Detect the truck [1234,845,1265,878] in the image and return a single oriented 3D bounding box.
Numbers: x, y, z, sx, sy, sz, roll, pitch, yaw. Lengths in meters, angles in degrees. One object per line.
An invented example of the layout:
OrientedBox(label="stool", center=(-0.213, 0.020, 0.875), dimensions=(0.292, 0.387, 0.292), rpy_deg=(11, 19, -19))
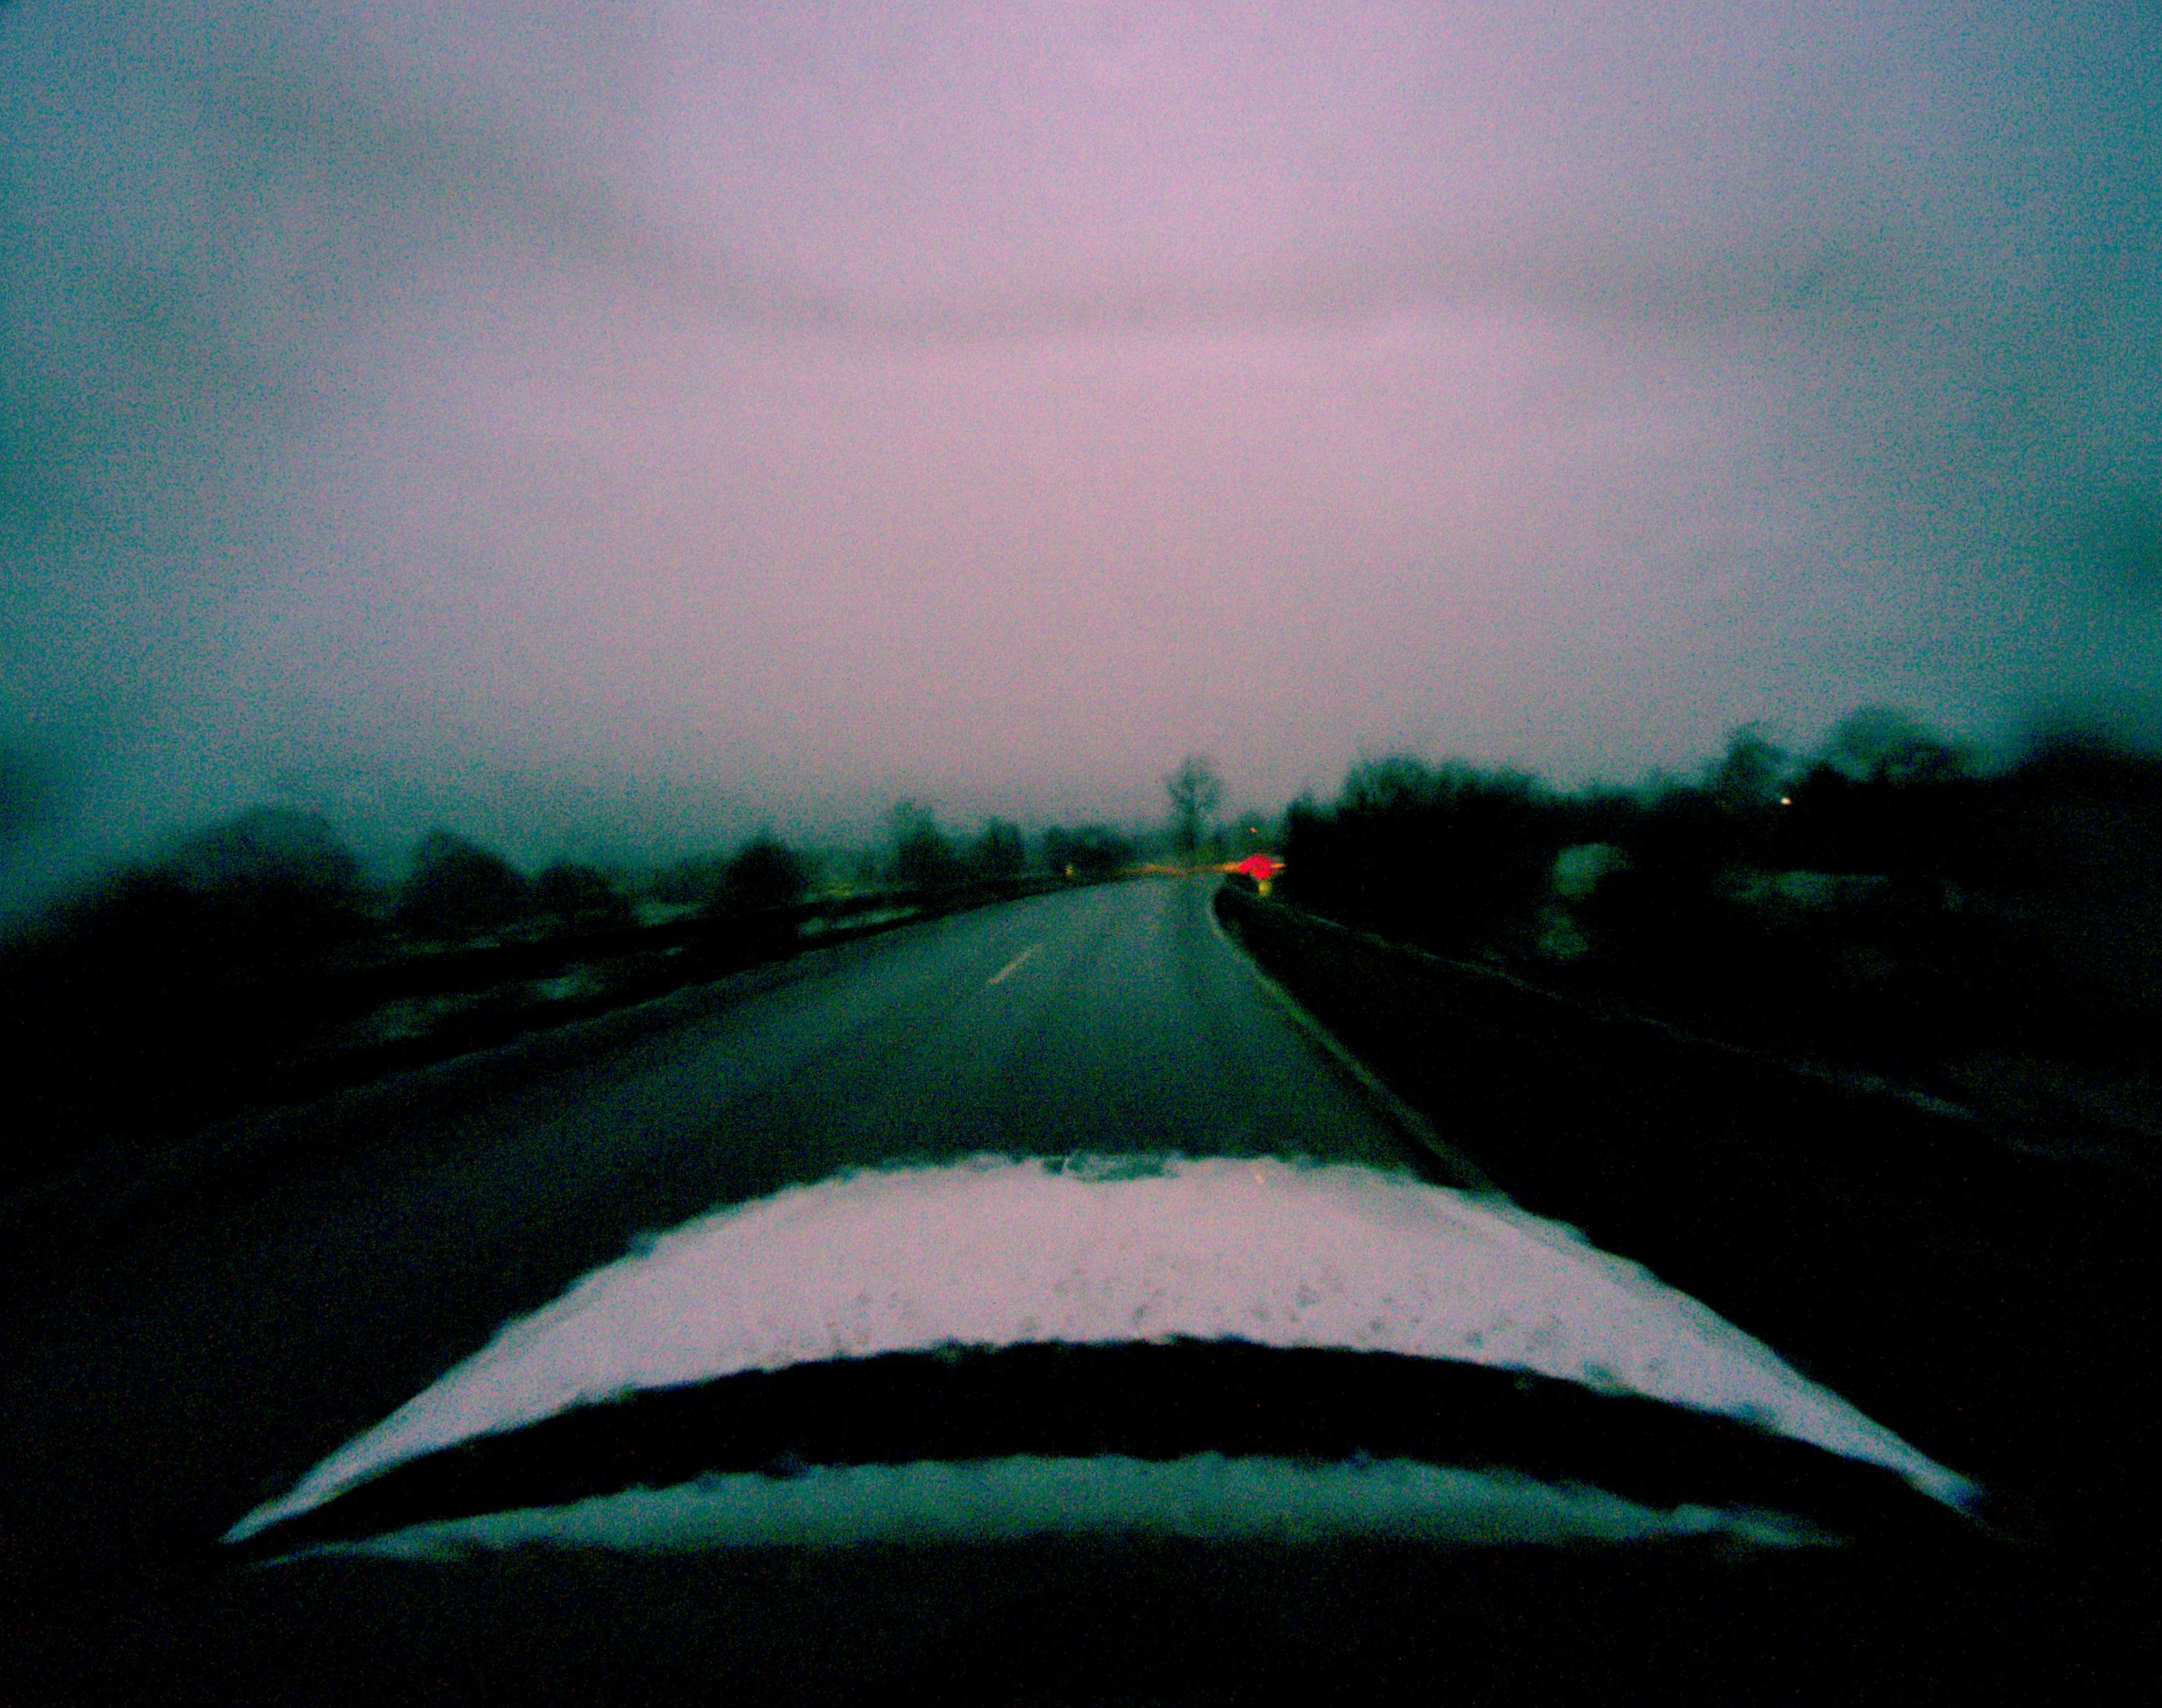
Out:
OrientedBox(label="truck", center=(16.538, 0.818, 80.169), dimensions=(2.517, 2.869, 5.937), rpy_deg=(7, -1, 10))
